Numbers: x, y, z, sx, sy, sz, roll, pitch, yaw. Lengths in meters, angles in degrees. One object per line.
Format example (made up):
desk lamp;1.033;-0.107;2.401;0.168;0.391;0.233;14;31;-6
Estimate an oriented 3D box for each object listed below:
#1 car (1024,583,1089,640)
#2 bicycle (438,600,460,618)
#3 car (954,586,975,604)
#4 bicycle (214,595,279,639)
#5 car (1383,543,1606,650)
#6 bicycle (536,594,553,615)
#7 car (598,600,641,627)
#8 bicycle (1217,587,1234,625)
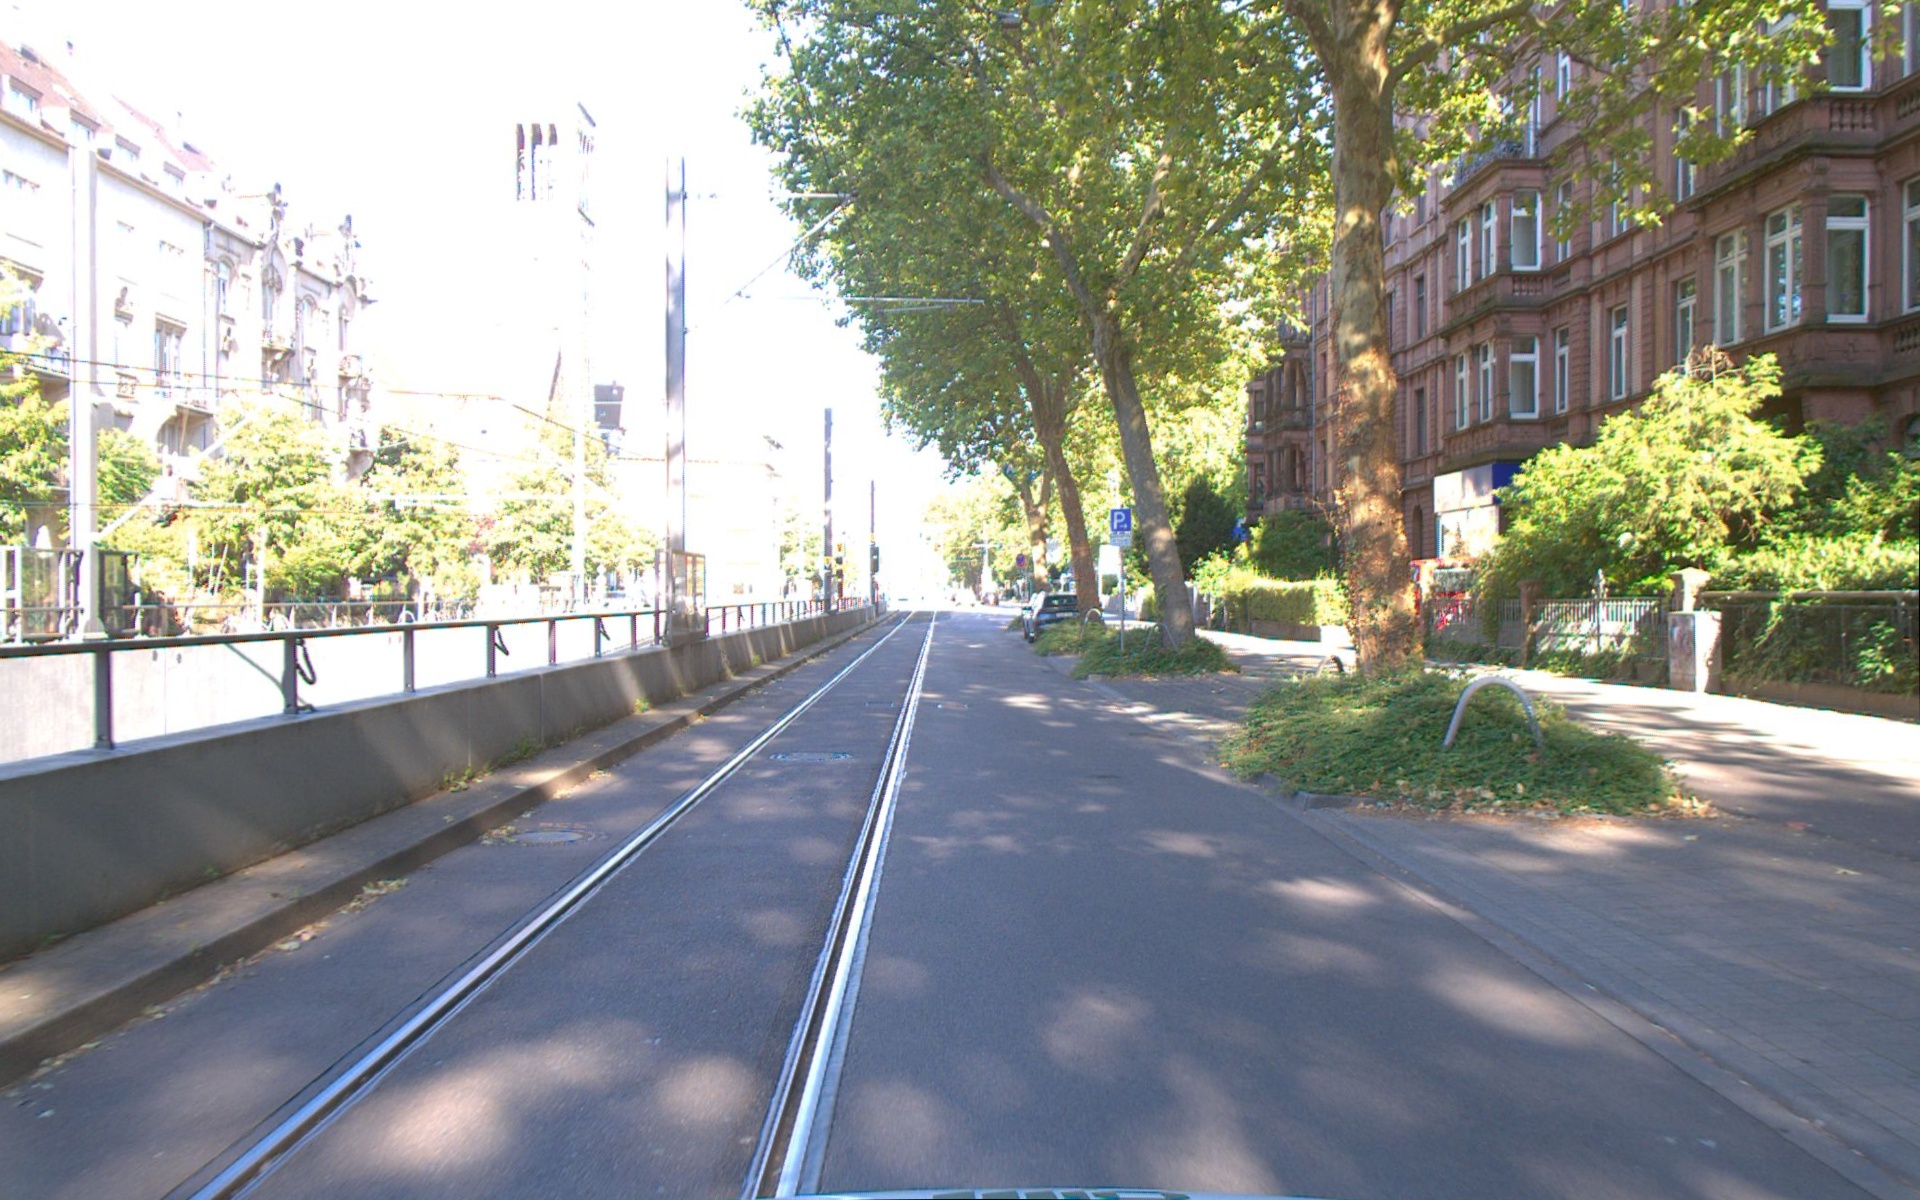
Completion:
car;2.884;0.325;50.172;1.584;1.615;4.416;-1;0;-1
bicycle;-24.734;0.418;80.100;0.408;0.814;1.888;3;0;2
car;0.364;-0.492;147.845;1.710;1.487;3.643;3;1;-2
bicycle;-21.140;0.498;49.024;1.694;1.302;0.600;0;0;5
car;11.445;-0.084;35.608;4.092;2.048;1.999;-2;0;-3
bicycle;-21.598;0.240;85.960;0.479;1.040;1.879;2;0;-24
car;-21.842;0.856;106.181;1.680;1.582;4.511;3;0;1
bicycle;9.002;0.204;56.125;0.330;1.271;1.767;2;0;3
